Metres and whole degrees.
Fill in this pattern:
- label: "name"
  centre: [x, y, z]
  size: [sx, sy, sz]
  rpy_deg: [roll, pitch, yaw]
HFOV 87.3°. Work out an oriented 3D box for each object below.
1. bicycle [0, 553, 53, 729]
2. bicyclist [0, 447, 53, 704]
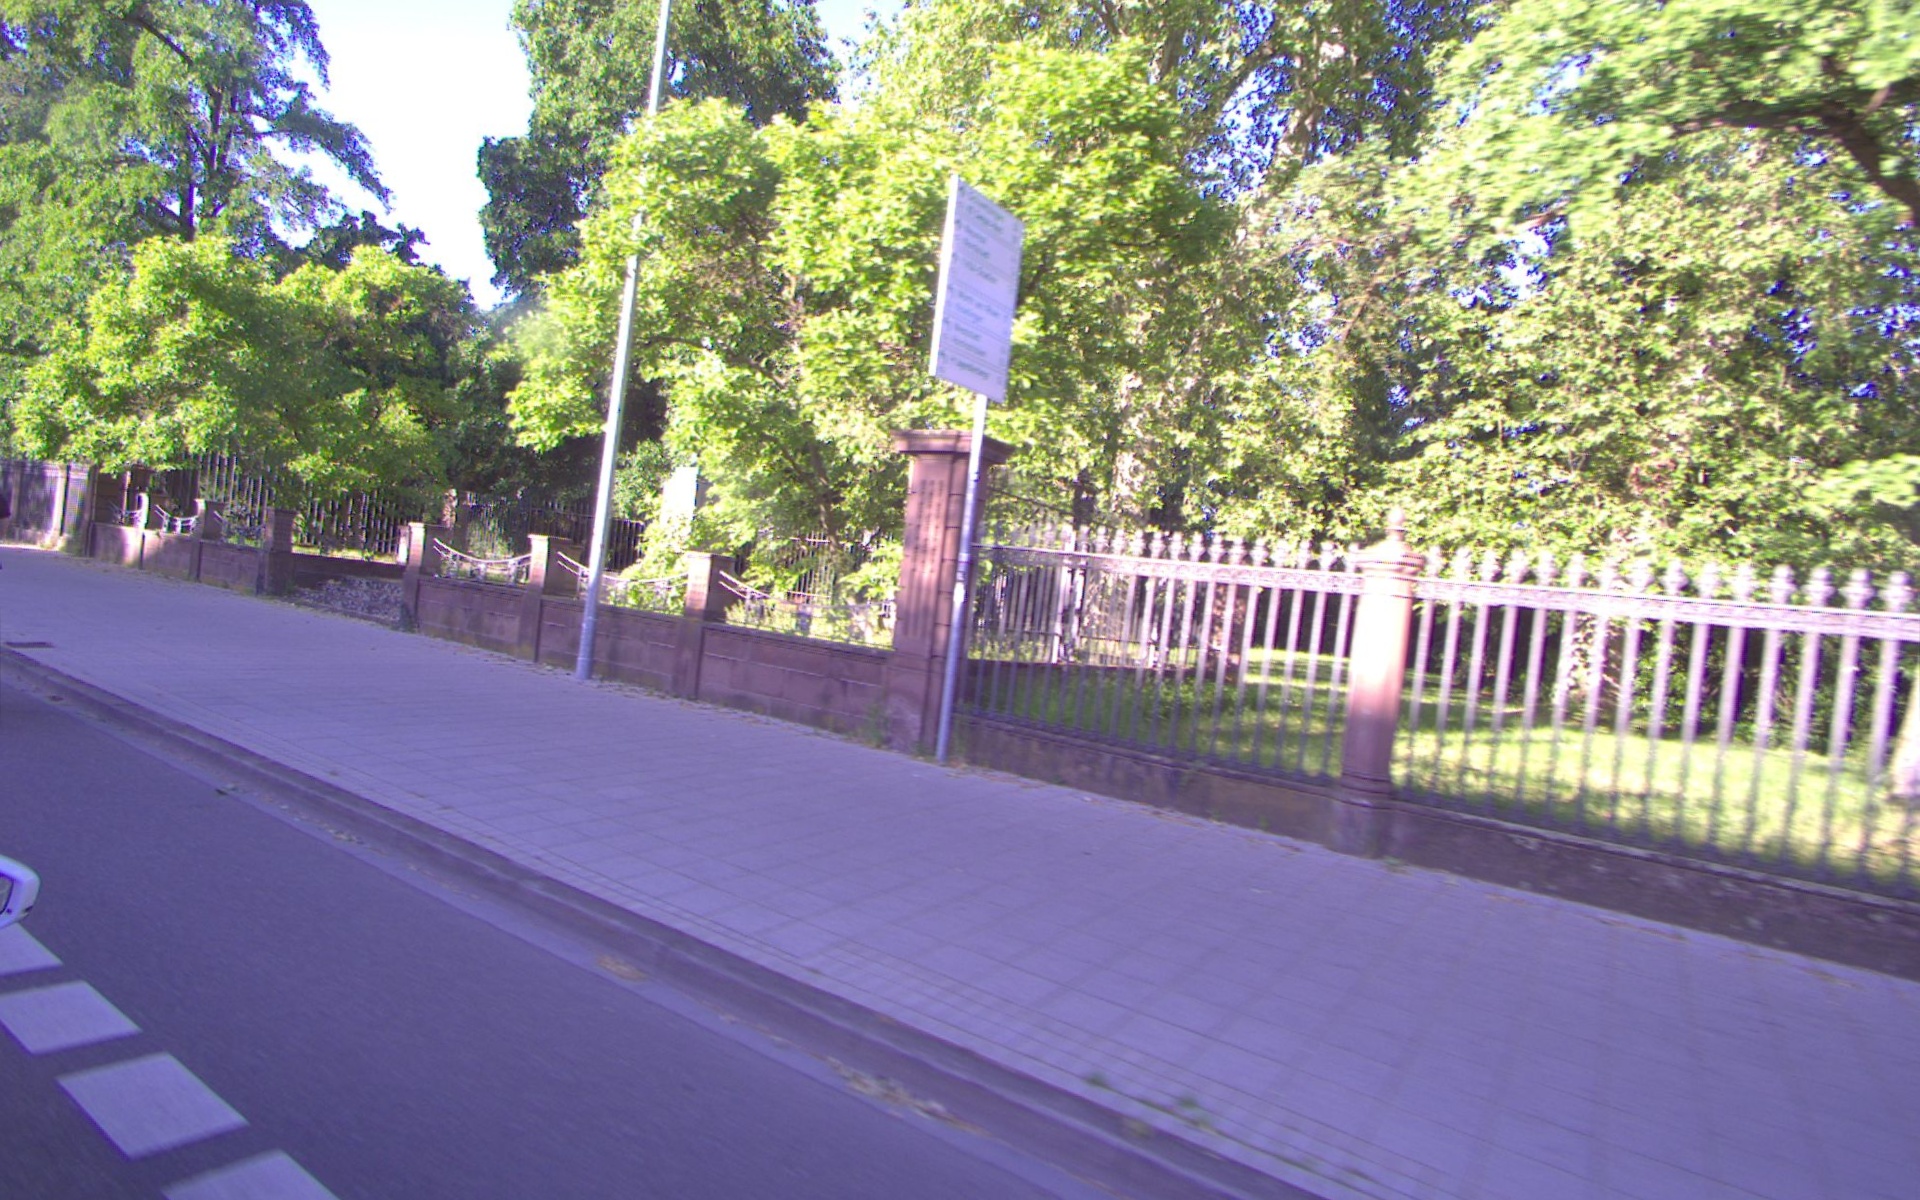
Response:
- label: "bicycle"
  centre: [-6.896, 0.161, 6.715]
  size: [2.176, 1.037, 0.644]
  rpy_deg: [7, -1, 33]
- label: "bicyclist"
  centre: [-6.693, -0.222, 6.628]
  size: [1.263, 1.634, 0.636]
  rpy_deg: [7, 0, 33]
